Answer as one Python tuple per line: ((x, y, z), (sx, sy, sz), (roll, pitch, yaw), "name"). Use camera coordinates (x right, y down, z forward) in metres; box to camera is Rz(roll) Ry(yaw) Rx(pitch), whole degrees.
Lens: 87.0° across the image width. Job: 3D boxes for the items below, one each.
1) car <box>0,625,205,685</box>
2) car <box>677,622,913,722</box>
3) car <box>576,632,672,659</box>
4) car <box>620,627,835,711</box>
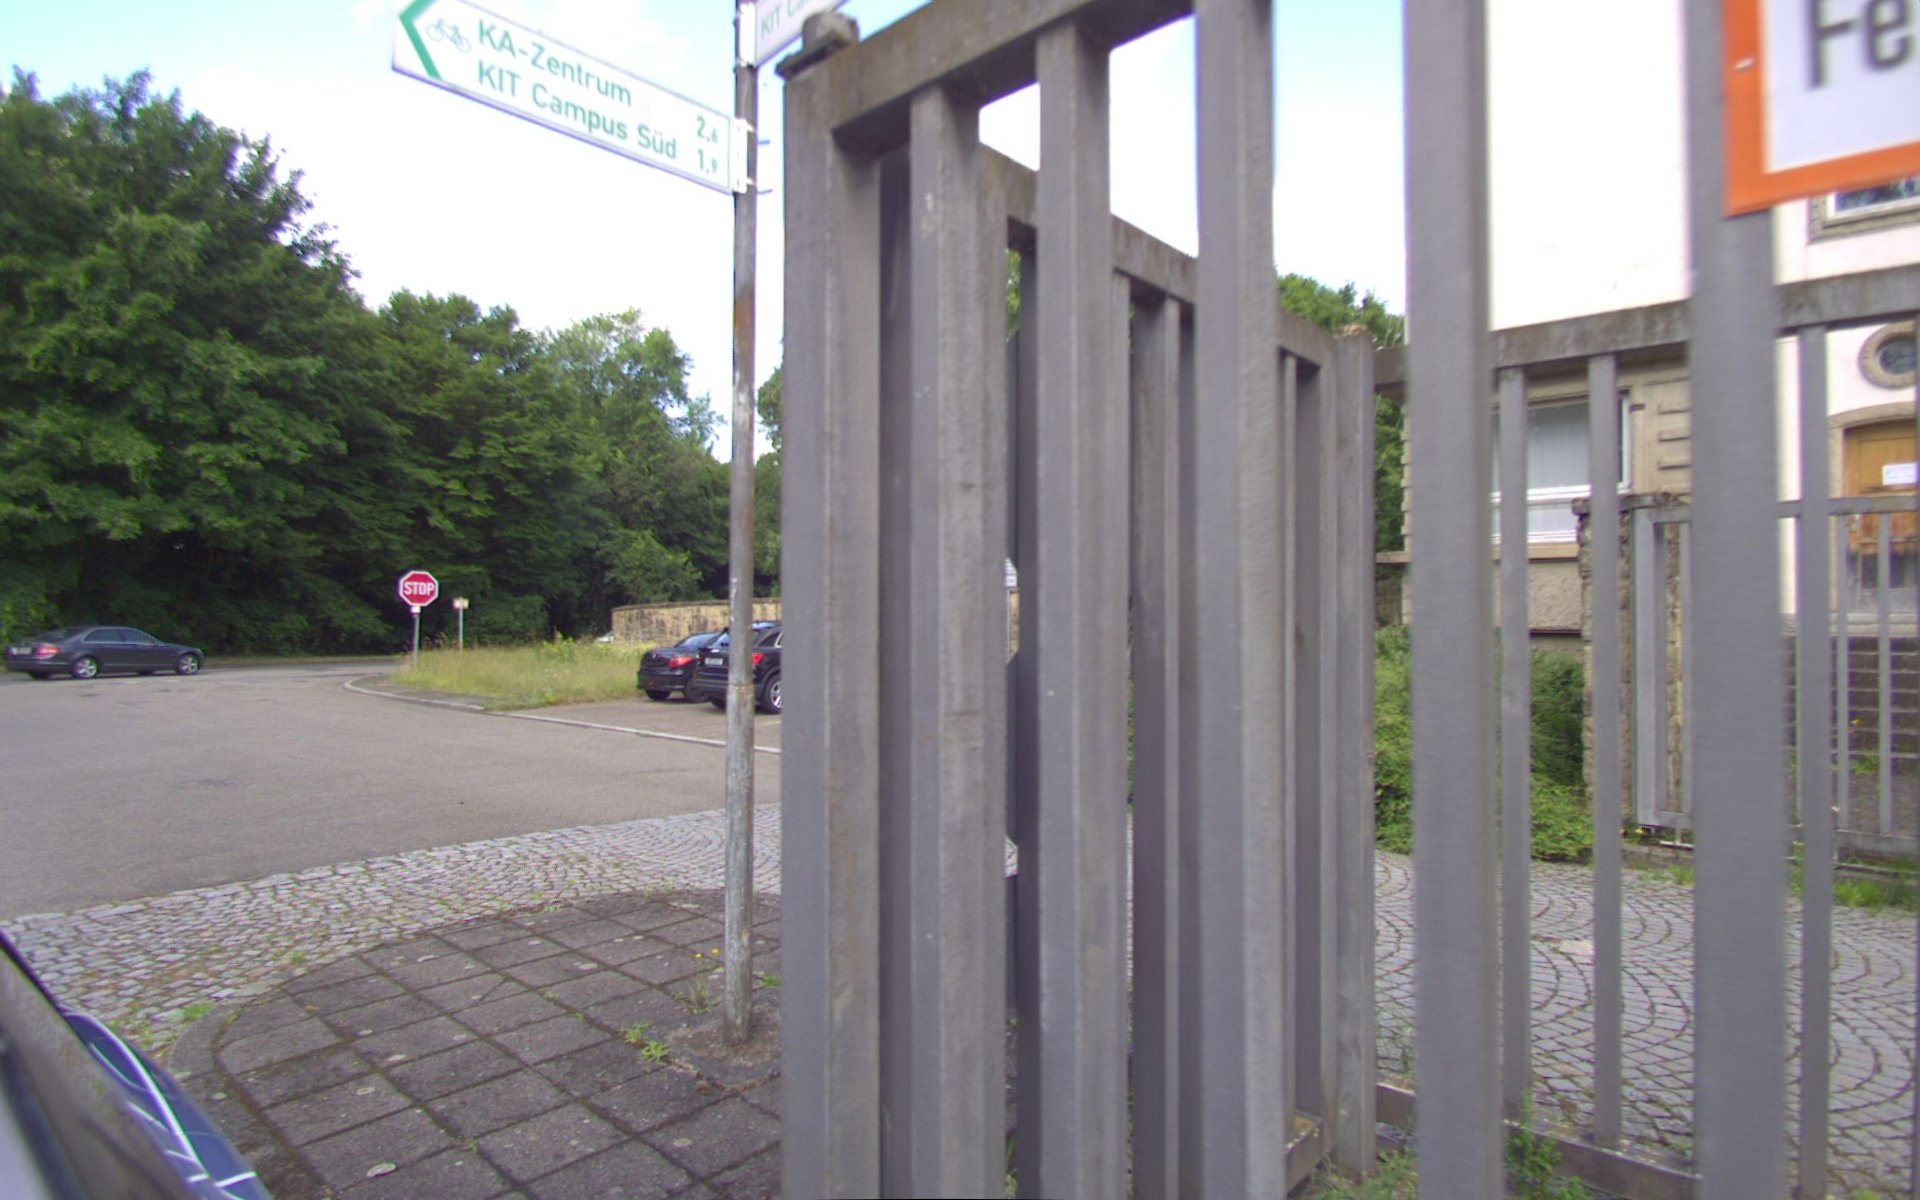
((-23.420, 1.435, 27.452), (1.948, 1.475, 4.508), (-1, -2, 14), "car")
((-2.961, 1.236, 18.691), (1.900, 1.558, 3.943), (-2, -1, 44), "car")
((-18.073, 2.422, 54.779), (1.986, 1.389, 5.374), (-1, -2, 21), "car")
((-4.738, 1.349, 20.971), (1.880, 1.452, 3.942), (-2, -1, 44), "car")
